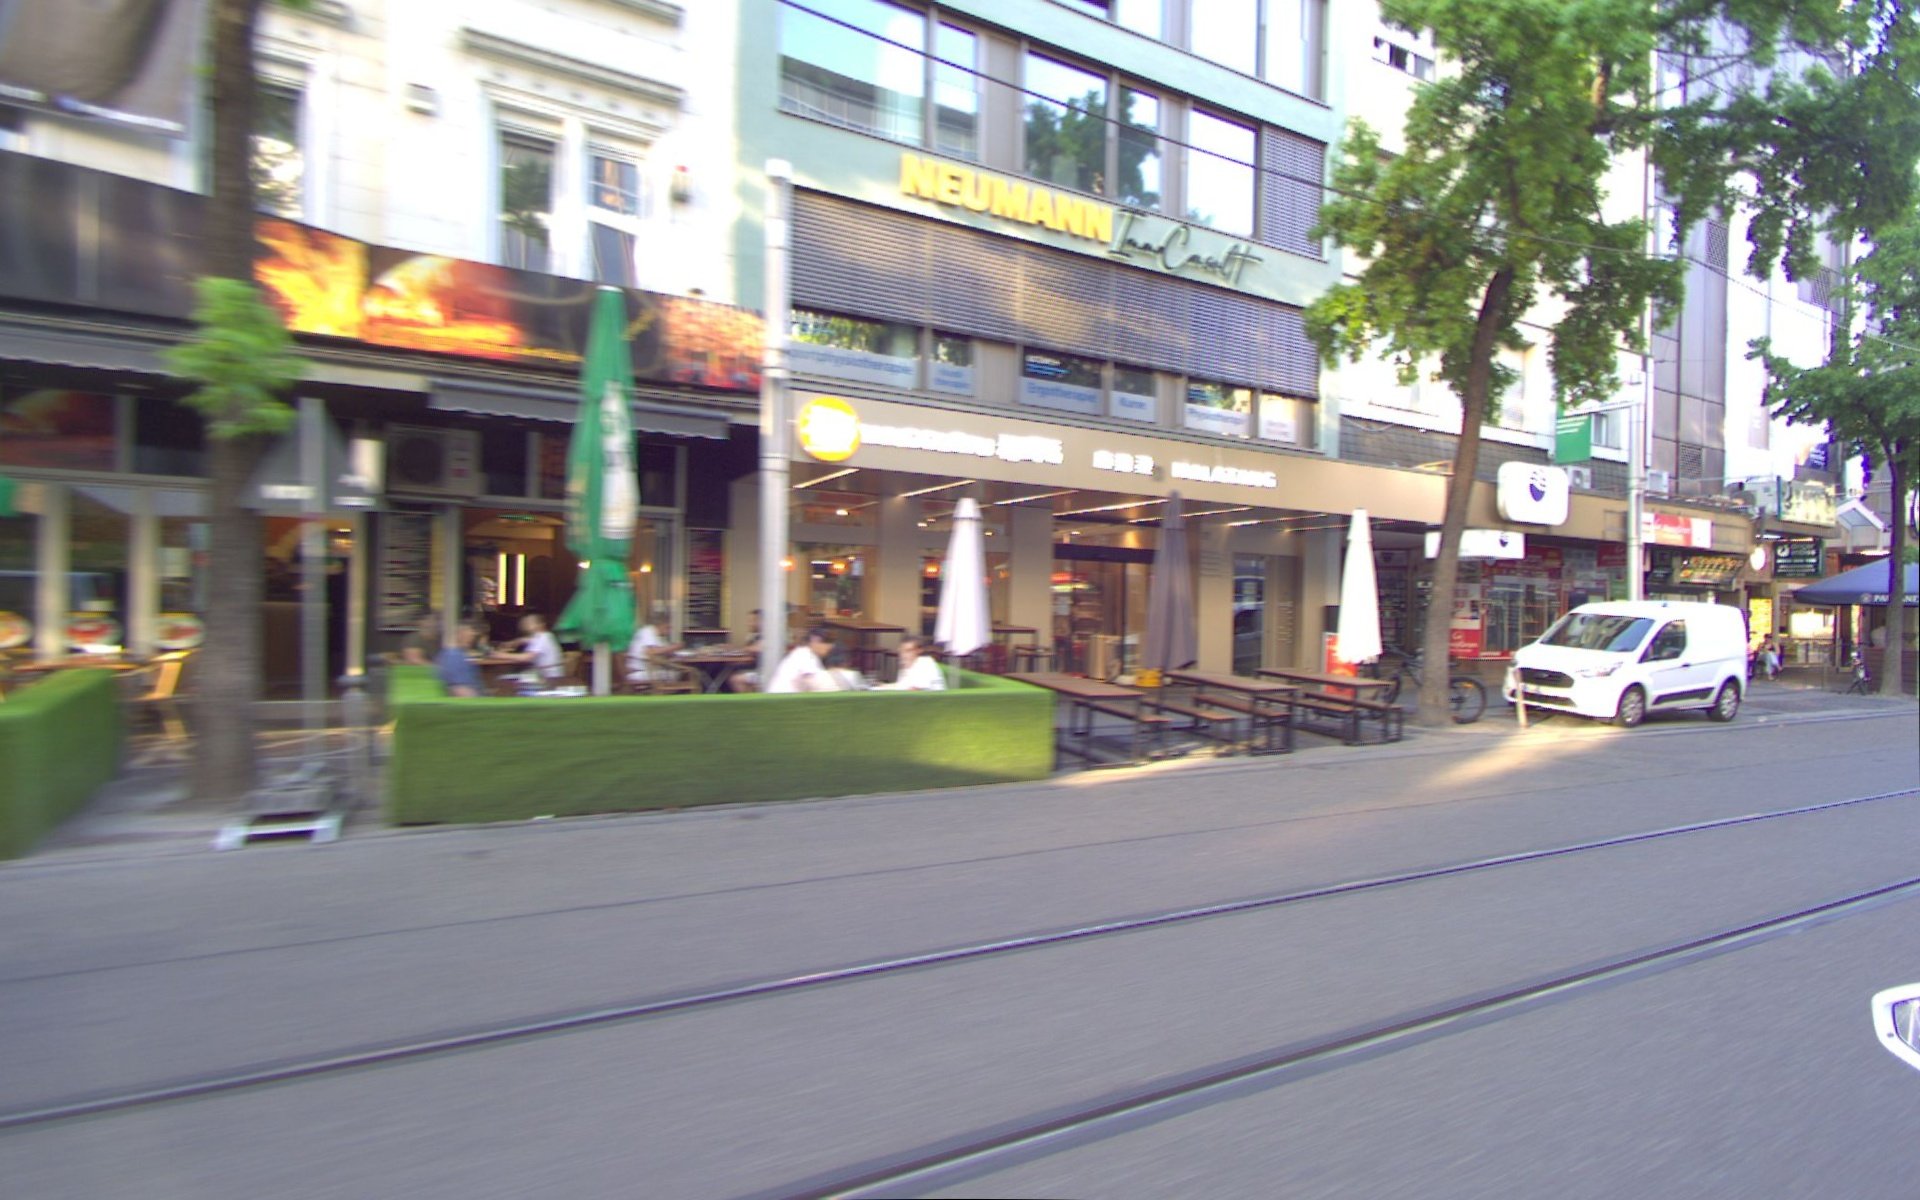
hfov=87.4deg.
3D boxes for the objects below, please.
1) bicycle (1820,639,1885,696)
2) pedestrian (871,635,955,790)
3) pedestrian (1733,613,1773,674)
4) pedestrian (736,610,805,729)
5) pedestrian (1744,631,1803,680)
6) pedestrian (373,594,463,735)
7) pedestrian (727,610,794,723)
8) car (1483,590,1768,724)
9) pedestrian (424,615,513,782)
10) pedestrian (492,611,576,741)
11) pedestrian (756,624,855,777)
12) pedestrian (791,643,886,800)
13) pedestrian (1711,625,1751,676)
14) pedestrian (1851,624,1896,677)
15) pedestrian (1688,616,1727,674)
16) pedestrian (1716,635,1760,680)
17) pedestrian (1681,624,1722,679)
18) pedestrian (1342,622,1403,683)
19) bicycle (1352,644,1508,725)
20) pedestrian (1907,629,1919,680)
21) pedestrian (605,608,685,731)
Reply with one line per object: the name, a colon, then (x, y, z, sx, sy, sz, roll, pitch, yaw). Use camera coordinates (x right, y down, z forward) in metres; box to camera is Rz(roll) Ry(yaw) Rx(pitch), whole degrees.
bicycle: (19.833, 1.472, 22.354, 0.800, 1.118, 2.159, 1, 0, 35)
pedestrian: (-0.450, 1.048, 9.559, 0.558, 1.396, 0.577, 2, 0, -28)
pedestrian: (21.512, 1.179, 27.243, 0.553, 1.618, 0.601, 2, 2, -27)
pedestrian: (-2.317, 0.836, 12.274, 0.640, 1.396, 0.602, 2, 0, -28)
pedestrian: (20.376, 1.379, 25.166, 0.766, 1.135, 0.820, 2, 2, -19)
pedestrian: (-5.627, 0.650, 10.445, 0.756, 1.396, 0.651, 2, 0, -28)
pedestrian: (-2.568, 0.843, 12.917, 0.671, 1.396, 0.535, 2, 0, -29)
car: (10.571, 0.872, 15.909, 4.459, 1.842, 1.787, 2, 1, -28)
pedestrian: (-4.054, 0.781, 8.267, 0.592, 1.281, 0.705, 2, 0, -28)
pedestrian: (-4.664, 0.811, 10.986, 0.756, 1.348, 0.651, 2, 0, -28)
pedestrian: (-1.467, 0.925, 9.526, 0.722, 1.364, 0.641, 2, 0, -28)
pedestrian: (-1.062, 1.038, 8.767, 0.633, 1.283, 0.549, 2, 0, -28)
pedestrian: (19.880, 1.303, 25.900, 0.597, 1.274, 0.557, 2, 2, -25)
pedestrian: (22.891, 1.255, 25.170, 0.553, 1.273, 0.601, 2, 2, -27)
pedestrian: (18.677, 1.129, 25.085, 0.596, 1.391, 0.442, 2, 2, -19)
pedestrian: (19.191, 1.410, 24.786, 0.649, 1.043, 0.454, 3, 2, 1)
pedestrian: (17.661, 1.224, 23.912, 0.580, 1.273, 0.519, 2, 2, -29)
pedestrian: (8.080, 1.025, 19.688, 0.720, 1.109, 0.774, 2, 2, -29)
bicycle: (6.837, 1.224, 14.667, 1.979, 1.082, 0.613, 1, 0, 0)
pedestrian: (24.241, 1.376, 25.147, 0.598, 1.273, 0.556, 2, 2, -28)
pedestrian: (-3.766, 0.811, 11.987, 0.756, 1.396, 0.687, 2, 0, -28)
